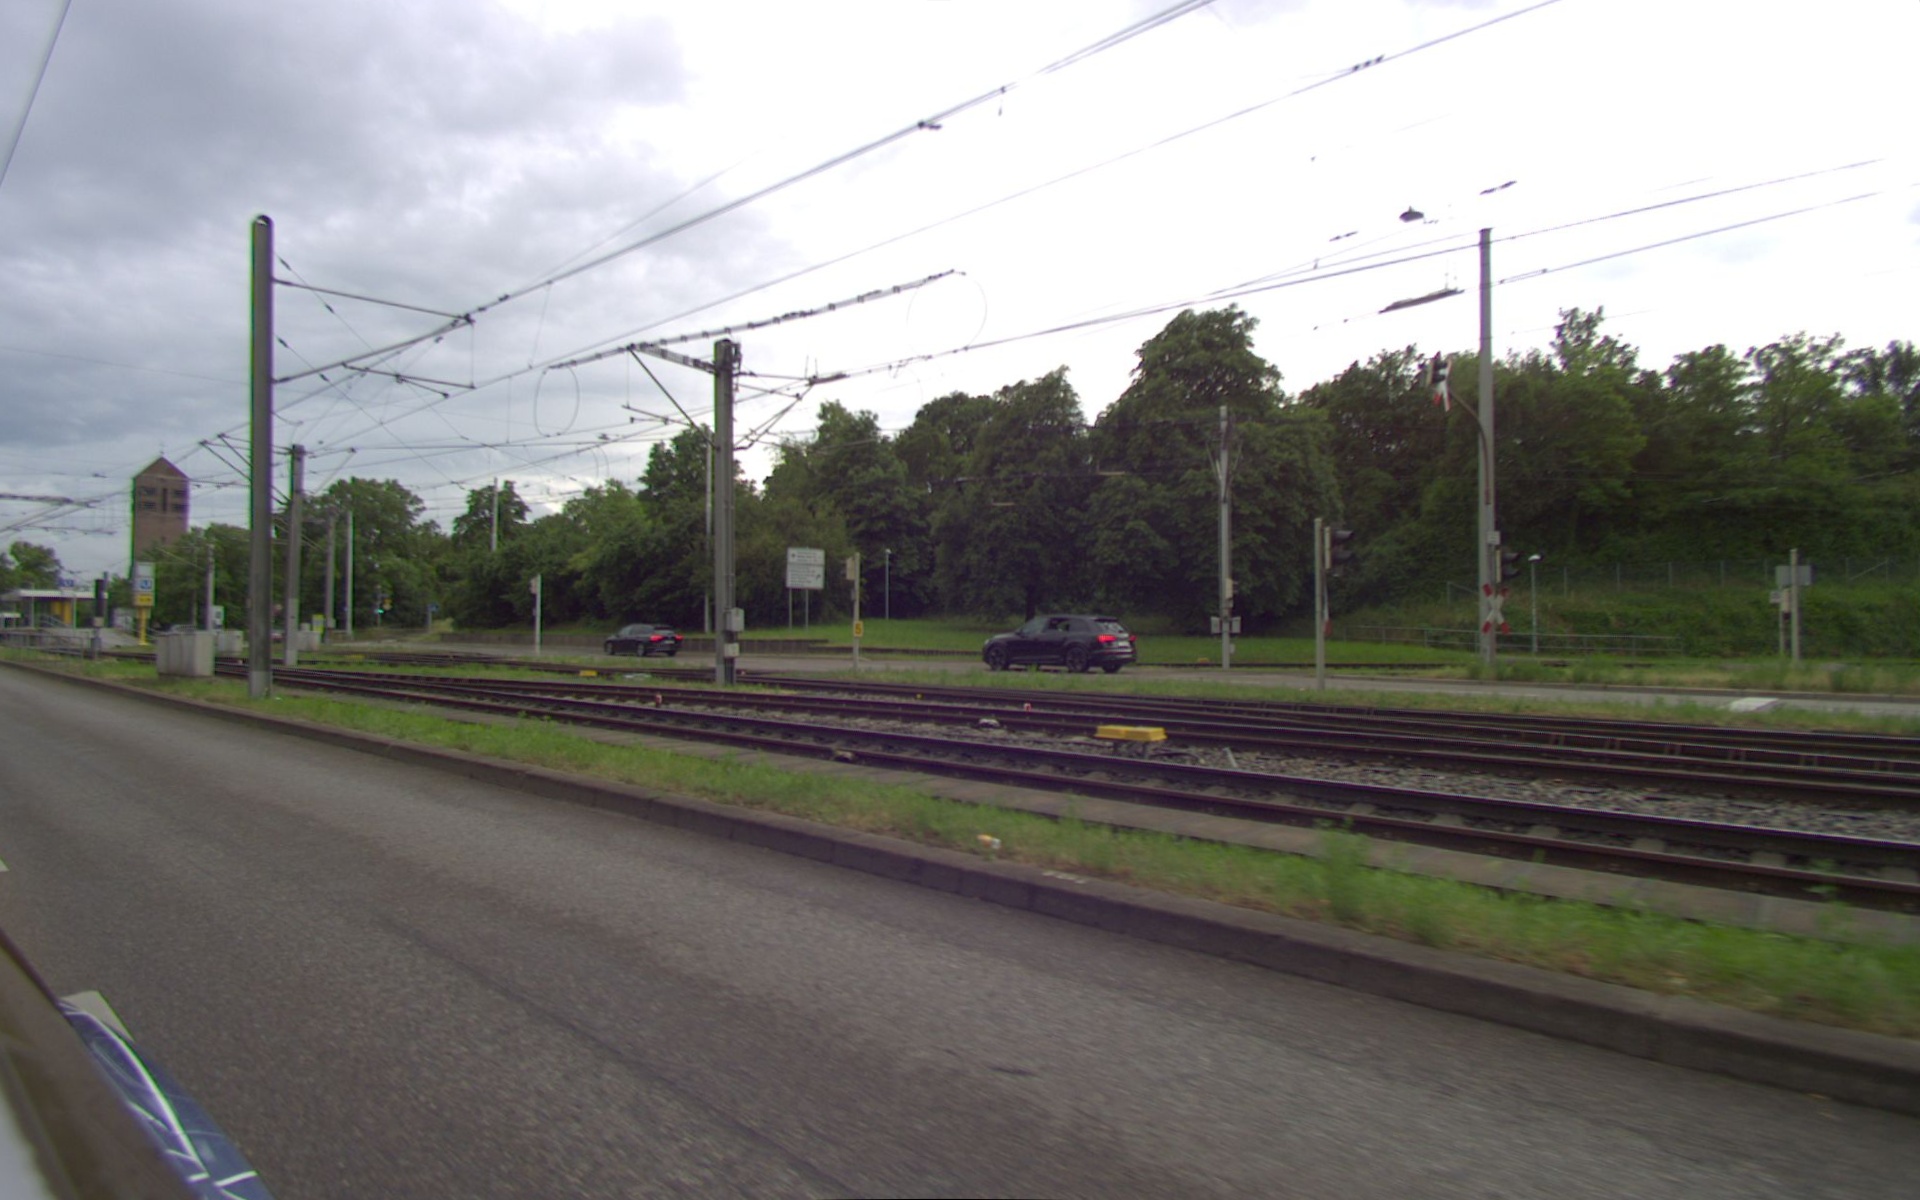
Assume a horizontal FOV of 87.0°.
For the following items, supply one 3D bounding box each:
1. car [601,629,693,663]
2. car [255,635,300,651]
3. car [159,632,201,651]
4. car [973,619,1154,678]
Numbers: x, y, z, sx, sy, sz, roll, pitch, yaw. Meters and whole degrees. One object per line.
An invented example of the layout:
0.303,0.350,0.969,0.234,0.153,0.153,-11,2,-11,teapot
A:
-14.335,2.083,46.214,4.680,1.458,1.906,-2,-3,42,car
-55.794,3.511,82.738,4.471,1.271,1.907,-2,-3,41,car
-70.983,3.760,92.057,4.859,1.752,2.062,-2,-3,41,car
2.989,1.428,30.095,5.157,1.601,2.067,-2,-3,42,car
